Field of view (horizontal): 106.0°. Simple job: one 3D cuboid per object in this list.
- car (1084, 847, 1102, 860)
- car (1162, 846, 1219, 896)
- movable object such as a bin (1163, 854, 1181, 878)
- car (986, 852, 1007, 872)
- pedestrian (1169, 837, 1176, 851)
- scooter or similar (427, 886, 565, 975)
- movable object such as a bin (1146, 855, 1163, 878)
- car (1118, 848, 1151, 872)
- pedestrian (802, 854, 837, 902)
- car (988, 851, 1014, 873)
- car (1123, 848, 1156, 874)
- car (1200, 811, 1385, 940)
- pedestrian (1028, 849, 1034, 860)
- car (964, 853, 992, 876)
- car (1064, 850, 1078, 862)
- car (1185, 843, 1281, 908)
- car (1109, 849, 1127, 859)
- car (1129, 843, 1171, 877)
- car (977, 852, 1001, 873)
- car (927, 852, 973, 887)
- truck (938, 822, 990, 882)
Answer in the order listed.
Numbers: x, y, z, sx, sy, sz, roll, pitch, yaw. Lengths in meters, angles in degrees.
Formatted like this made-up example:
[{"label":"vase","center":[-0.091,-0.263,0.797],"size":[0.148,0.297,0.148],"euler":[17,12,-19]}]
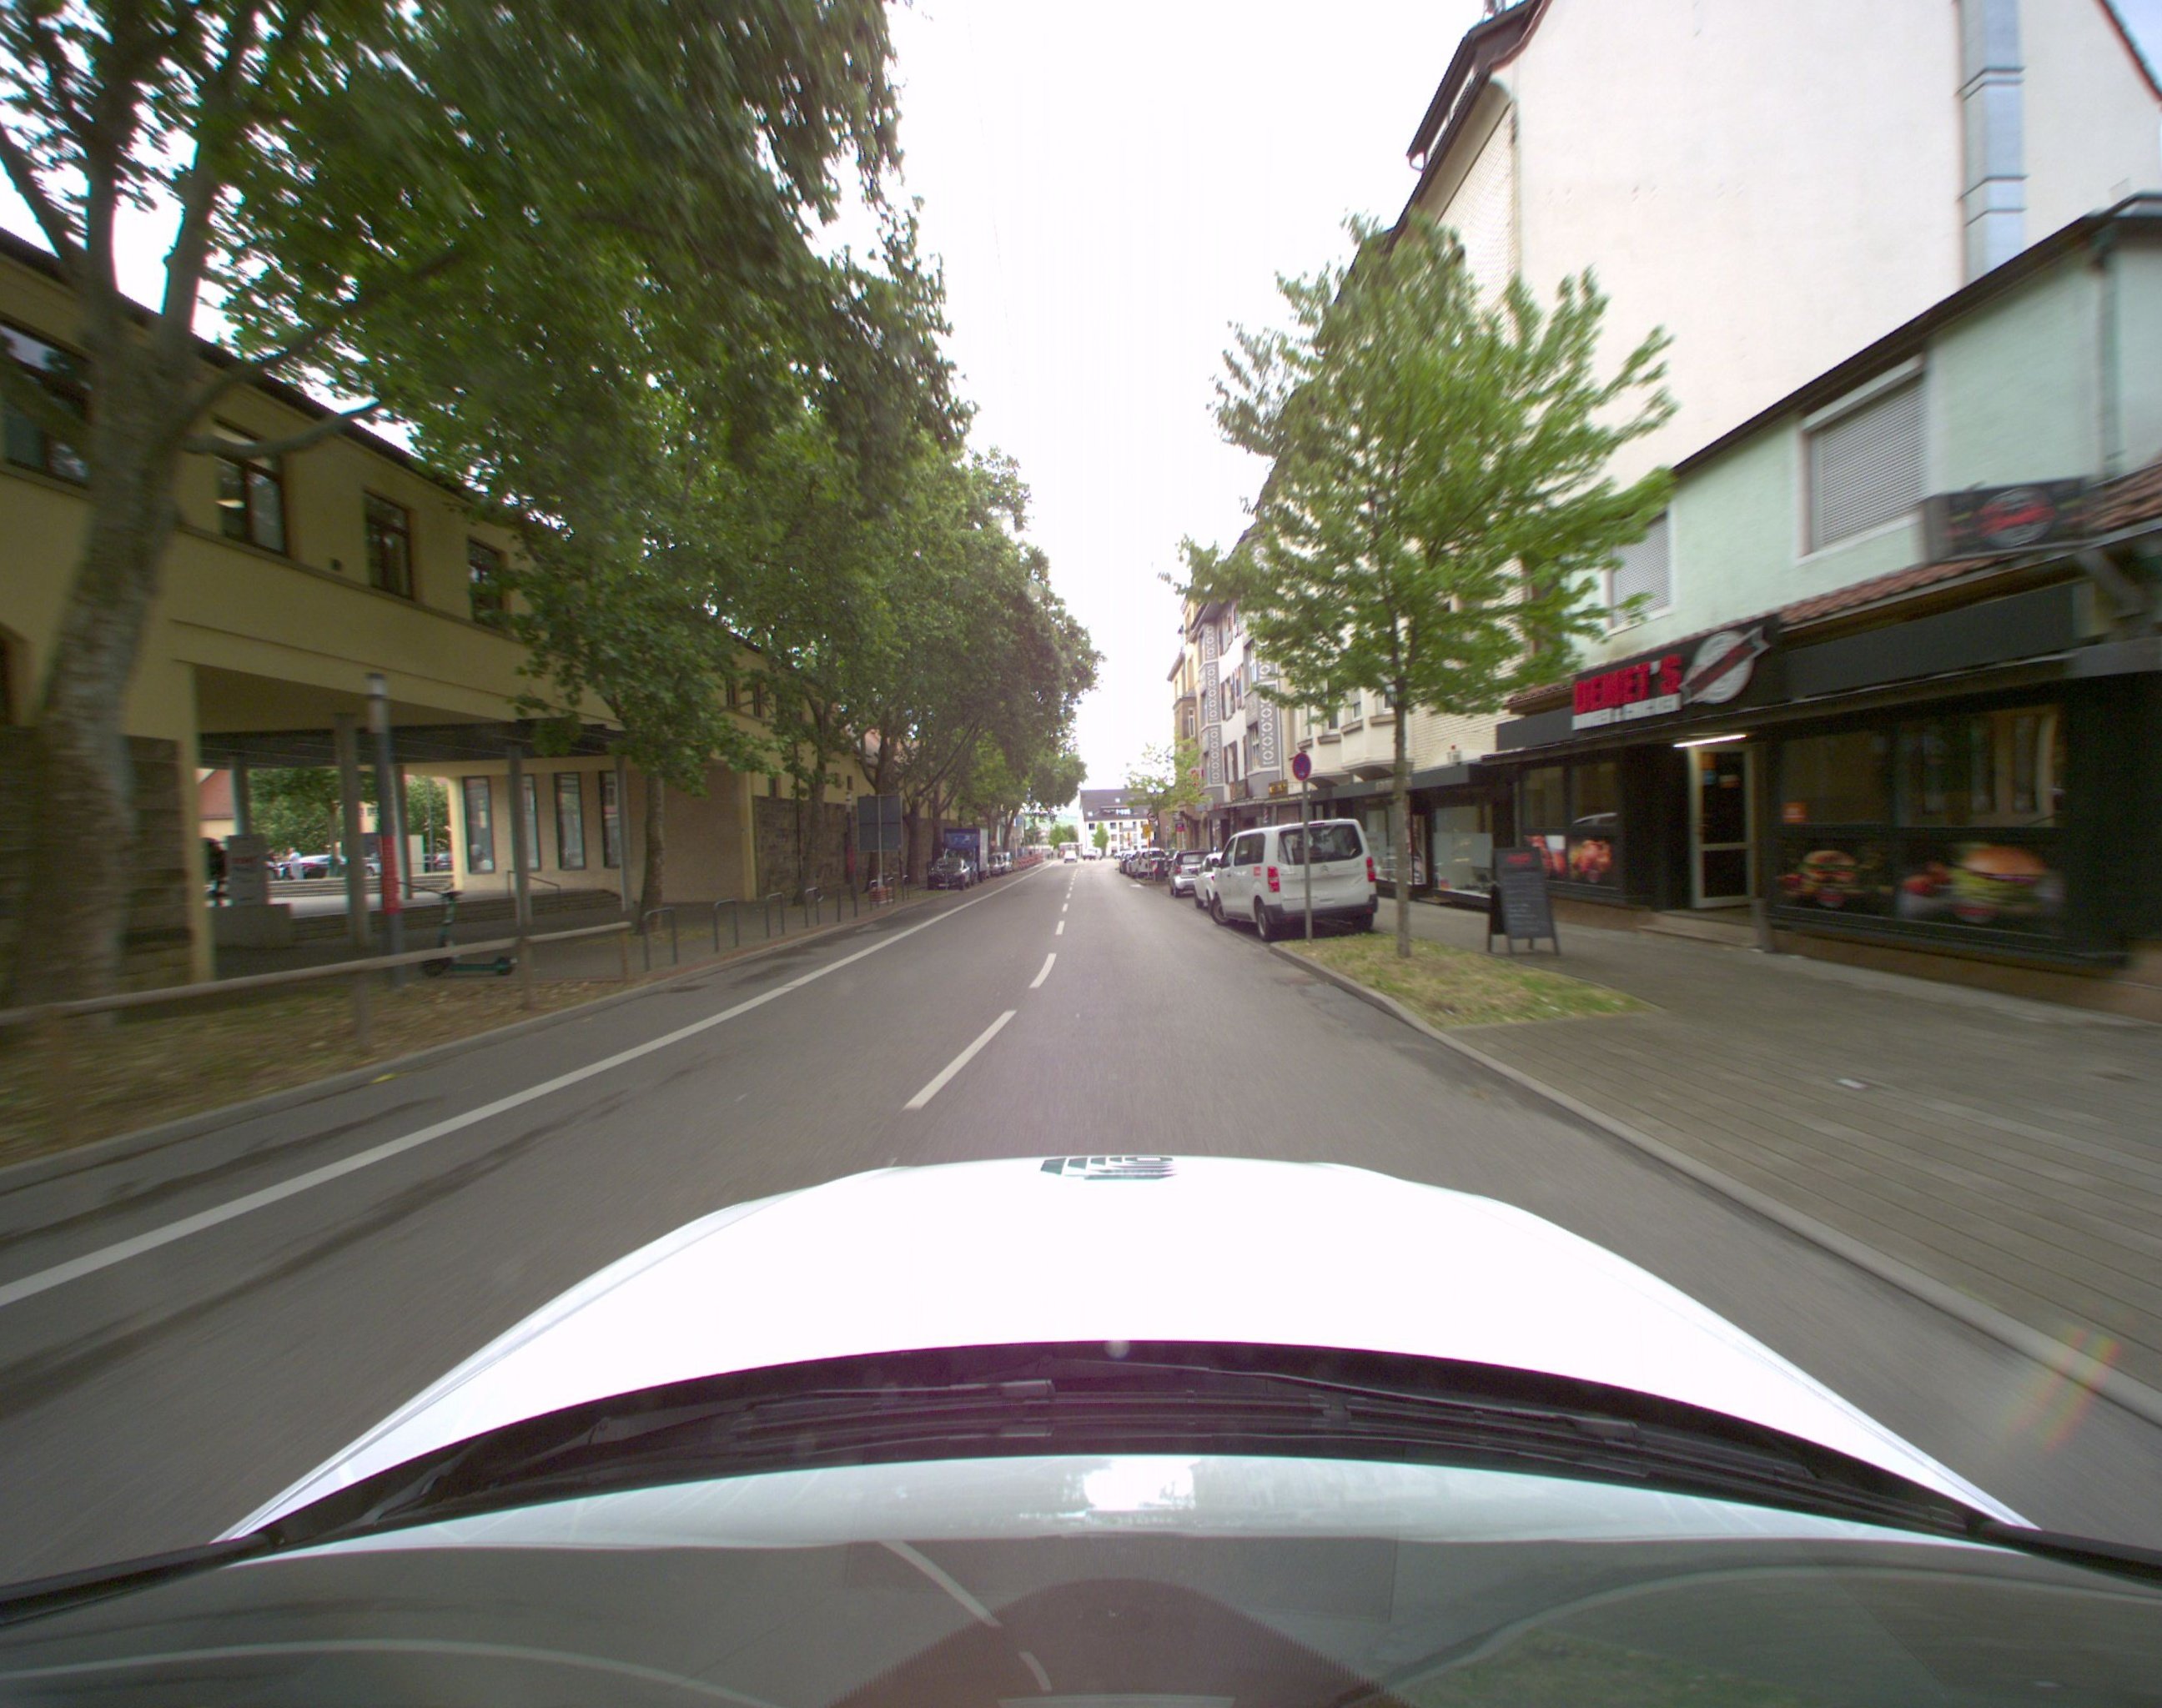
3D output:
[{"label":"car","center":[1.883,-0.045,128.139],"size":[2.192,1.931,5.252],"euler":[-2,0,8]},{"label":"car","center":[3.758,0.528,28.378],"size":[1.476,1.534,3.522],"euler":[-4,0,1]},{"label":"movable object such as a bin","center":[4.173,0.568,37.501],"size":[0.693,1.073,0.623],"euler":[-2,0,-4]},{"label":"car","center":[-7.005,0.669,67.756],"size":[1.504,1.631,4.111],"euler":[0,-1,-2]},{"label":"pedestrian","center":[11.942,-1.313,106.330],"size":[0.715,1.734,0.654],"euler":[1,-1,-33]},{"label":"scooter or similar","center":[-8.759,1.123,12.258],"size":[1.622,1.240,0.443],"euler":[-1,0,-23]},{"label":"movable object such as a bin","center":[3.380,0.580,37.472],"size":[0.621,1.024,0.695],"euler":[-2,0,-8]},{"label":"car","center":[3.638,0.385,56.422],"size":[1.734,1.463,4.772],"euler":[-4,0,-2]},{"label":"pedestrian","center":[-9.481,0.858,29.511],"size":[0.857,1.687,0.929],"euler":[-1,0,9]},{"label":"car","center":[-7.183,0.710,73.431],"size":[1.828,1.876,4.417],"euler":[-3,0,1]},{"label":"car","center":[3.563,0.404,50.253],"size":[1.601,1.397,4.274],"euler":[-4,0,-1]},{"label":"car","center":[3.718,0.334,15.364],"size":[1.902,1.930,4.915],"euler":[-4,0,-3]},{"label":"pedestrian","center":[-7.931,0.099,128.795],"size":[0.919,1.720,0.799],"euler":[0,-1,3]},{"label":"car","center":[-7.122,0.736,56.580],"size":[1.474,1.573,2.993],"euler":[0,-1,2]},{"label":"car","center":[-1.309,0.259,107.087],"size":[1.578,1.464,3.652],"euler":[-5,0,0]},{"label":"car","center":[3.820,0.491,21.137],"size":[1.678,1.415,4.041],"euler":[-4,0,0]},{"label":"car","center":[6.566,0.035,143.243],"size":[1.640,1.464,4.024],"euler":[-5,-1,26]},{"label":"car","center":[3.784,0.301,45.419],"size":[1.675,1.663,4.539],"euler":[-4,0,-3]},{"label":"car","center":[-7.055,0.669,62.749],"size":[1.590,1.573,4.082],"euler":[0,-1,-3]},{"label":"car","center":[-6.743,0.778,42.293],"size":[1.726,1.689,4.251],"euler":[0,0,-1]},{"label":"truck","center":[-7.016,-0.119,49.665],"size":[2.208,3.416,7.244],"euler":[0,0,-1]}]
